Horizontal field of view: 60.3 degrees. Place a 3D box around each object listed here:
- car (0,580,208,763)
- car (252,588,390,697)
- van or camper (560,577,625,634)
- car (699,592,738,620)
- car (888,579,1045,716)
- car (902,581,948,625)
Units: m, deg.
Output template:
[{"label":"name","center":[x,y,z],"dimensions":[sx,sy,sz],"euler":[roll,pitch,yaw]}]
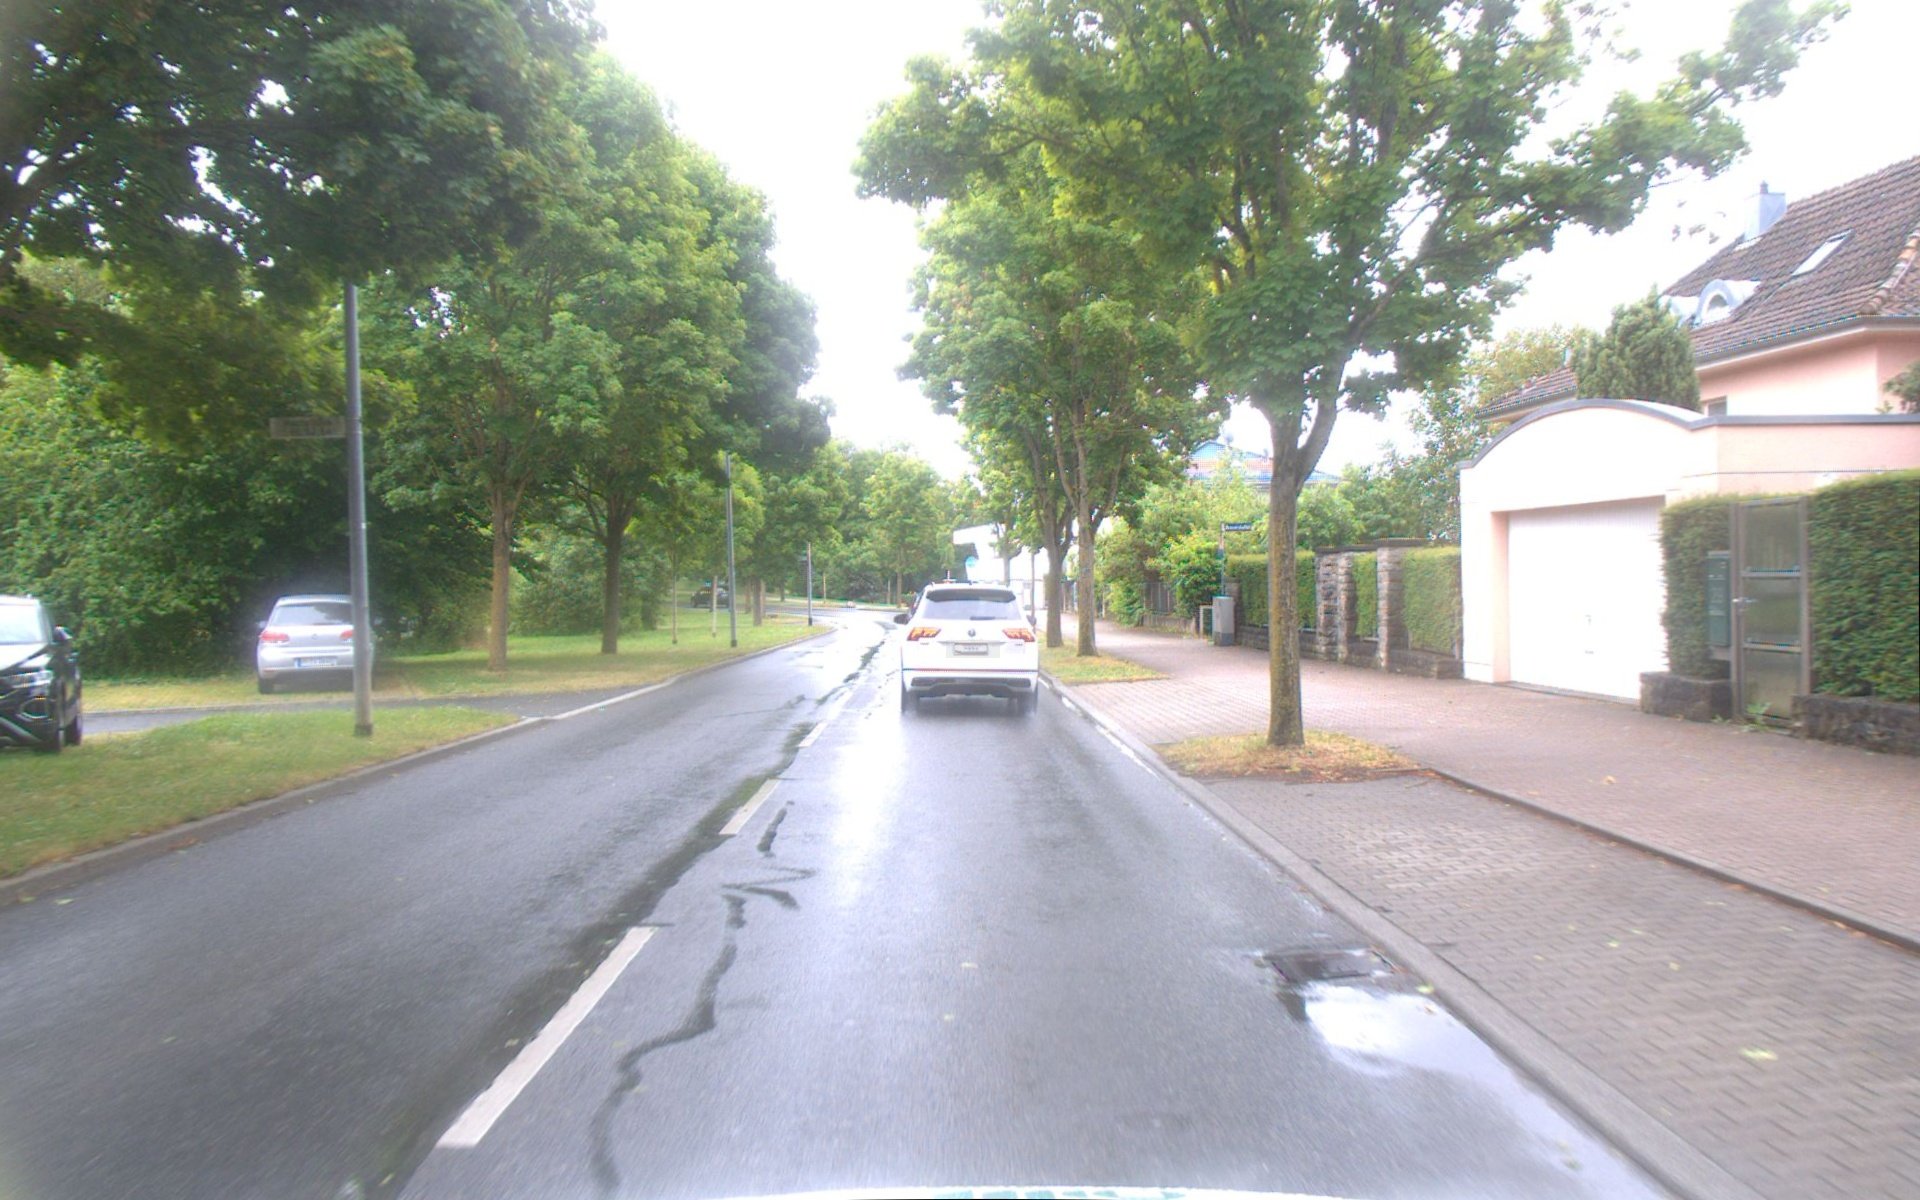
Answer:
[{"label":"car","center":[-8.700,0.602,15.976],"dimensions":[1.857,1.540,4.234],"euler":[-1,0,-14]},{"label":"car","center":[-10.409,0.619,27.189],"dimensions":[1.852,1.454,4.195],"euler":[-2,3,-18]},{"label":"van or camper","center":[-16.875,0.231,76.237],"dimensions":[2.340,2.402,6.798],"euler":[-2,0,-8]},{"label":"car","center":[-17.763,0.431,121.667],"dimensions":[1.876,2.049,3.915],"euler":[1,0,-24]},{"label":"car","center":[0.079,0.576,22.582],"dimensions":[1.934,1.681,4.177],"euler":[0,0,0]},{"label":"car","center":[-1.732,0.151,80.795],"dimensions":[1.865,2.049,3.938],"euler":[1,0,-7]}]
